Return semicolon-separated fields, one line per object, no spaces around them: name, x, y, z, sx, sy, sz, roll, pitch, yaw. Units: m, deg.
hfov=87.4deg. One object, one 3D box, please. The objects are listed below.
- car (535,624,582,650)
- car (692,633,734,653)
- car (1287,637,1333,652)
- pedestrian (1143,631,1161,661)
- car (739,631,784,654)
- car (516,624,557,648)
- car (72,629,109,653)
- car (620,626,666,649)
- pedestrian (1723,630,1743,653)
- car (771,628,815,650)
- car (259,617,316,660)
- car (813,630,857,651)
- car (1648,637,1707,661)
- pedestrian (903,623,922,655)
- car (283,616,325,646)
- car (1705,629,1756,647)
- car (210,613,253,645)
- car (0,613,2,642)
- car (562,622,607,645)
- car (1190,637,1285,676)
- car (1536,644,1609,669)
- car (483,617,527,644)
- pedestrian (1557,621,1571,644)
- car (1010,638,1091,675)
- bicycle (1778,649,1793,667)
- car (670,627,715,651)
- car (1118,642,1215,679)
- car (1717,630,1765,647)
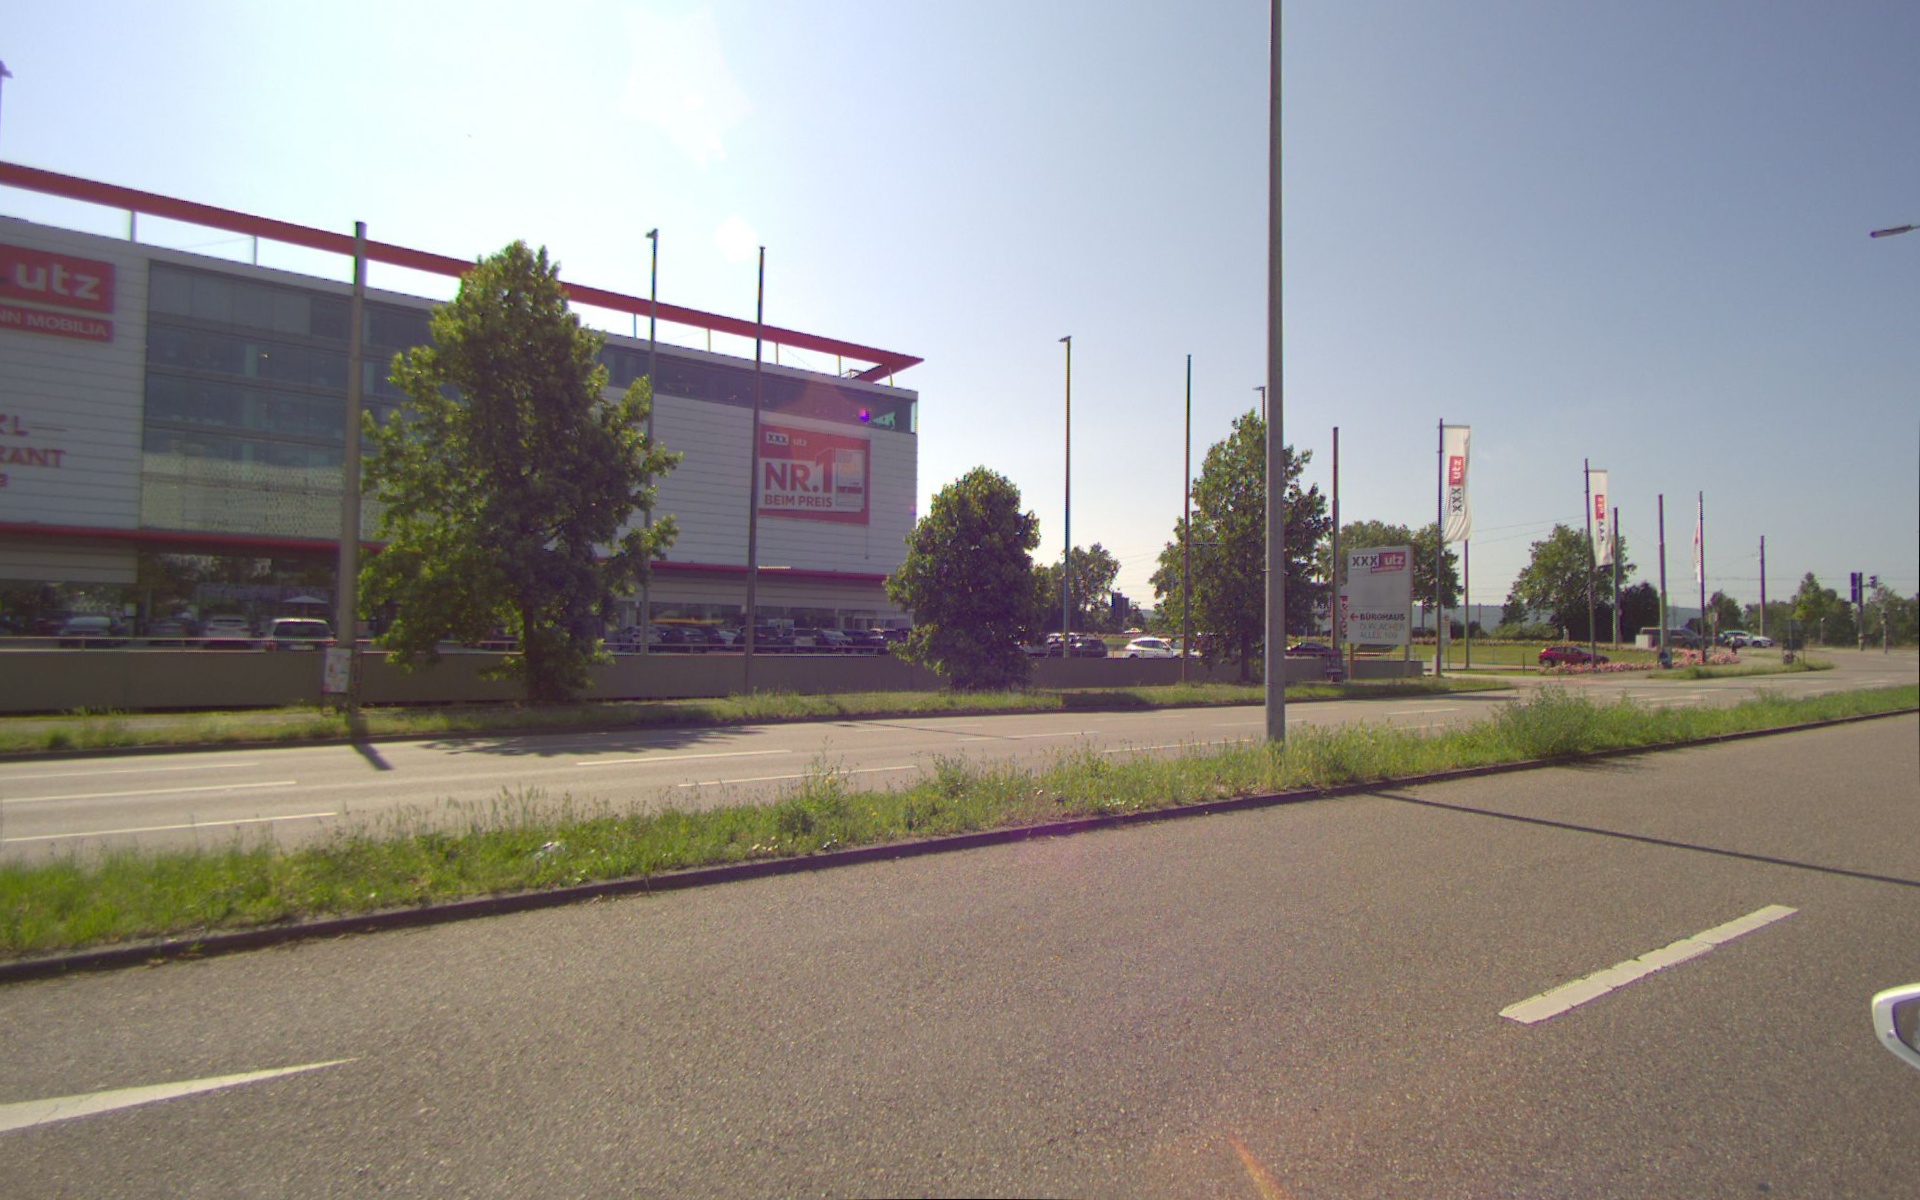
car;-22.167;2.057;55.414;1.688;1.347;3.066;3;-3;-36
car;-16.124;2.811;65.607;1.591;1.244;3.066;3;-3;-36
car;33.188;4.178;95.212;1.713;1.347;3.820;3;-3;-36
pedestrian;12.025;2.868;62.945;0.744;1.882;0.848;1;-3;-35
car;-12.172;2.602;61.527;1.501;1.310;3.066;3;-3;-36
car;-24.994;2.136;59.235;1.501;1.347;3.066;3;-3;-36
car;-37.161;1.750;42.930;1.062;0.988;1.923;2;-3;-38
car;-18.205;2.135;57.640;1.467;1.214;3.475;3;-3;-36
pedestrian;59.289;3.211;77.045;0.893;1.729;0.838;1;-2;-24
car;-10.547;2.472;63.456;1.501;1.347;3.066;3;-3;-36
car;-17.739;1.008;26.460;1.062;1.073;2.494;3;-3;-38
car;-8.077;2.606;64.890;1.501;1.347;3.066;3;-3;-36
car;62.010;4.211;86.860;1.785;1.951;3.989;0;0;-14
pedestrian;-3.035;2.506;64.695;1.007;2.040;0.860;1;-3;-21
car;-31.940;1.511;48.908;1.501;1.347;3.192;3;-3;-36
car;69.002;3.380;89.984;1.397;1.519;3.361;3;-3;-37
car;-33.549;1.343;46.282;1.501;1.347;3.192;3;-3;-36
car;-44.330;1.217;45.071;1.501;1.347;3.066;3;-3;-36
car;-22.619;2.011;60.461;1.614;1.347;3.640;3;-3;-36
car;13.935;2.829;50.623;1.927;1.866;4.383;3;-3;-36
car;43.670;4.012;71.668;1.812;1.626;4.149;4;-3;-39
car;-24.339;1.651;53.731;1.501;1.347;3.066;3;-3;-36
pedestrian;53.783;2.919;89.475;0.907;1.997;0.712;3;-3;-31
car;5.194;3.244;58.187;2.012;2.040;4.634;1;-3;-38
bicycle;49.072;3.468;59.701;1.630;1.036;0.328;4;-5;-39
car;-15.782;2.293;59.204;1.501;1.347;3.066;3;-3;-36
car;9.729;2.866;47.673;1.855;1.648;4.380;3;-4;-37
car;71.847;3.549;92.425;1.398;1.519;3.317;3;-3;-39
